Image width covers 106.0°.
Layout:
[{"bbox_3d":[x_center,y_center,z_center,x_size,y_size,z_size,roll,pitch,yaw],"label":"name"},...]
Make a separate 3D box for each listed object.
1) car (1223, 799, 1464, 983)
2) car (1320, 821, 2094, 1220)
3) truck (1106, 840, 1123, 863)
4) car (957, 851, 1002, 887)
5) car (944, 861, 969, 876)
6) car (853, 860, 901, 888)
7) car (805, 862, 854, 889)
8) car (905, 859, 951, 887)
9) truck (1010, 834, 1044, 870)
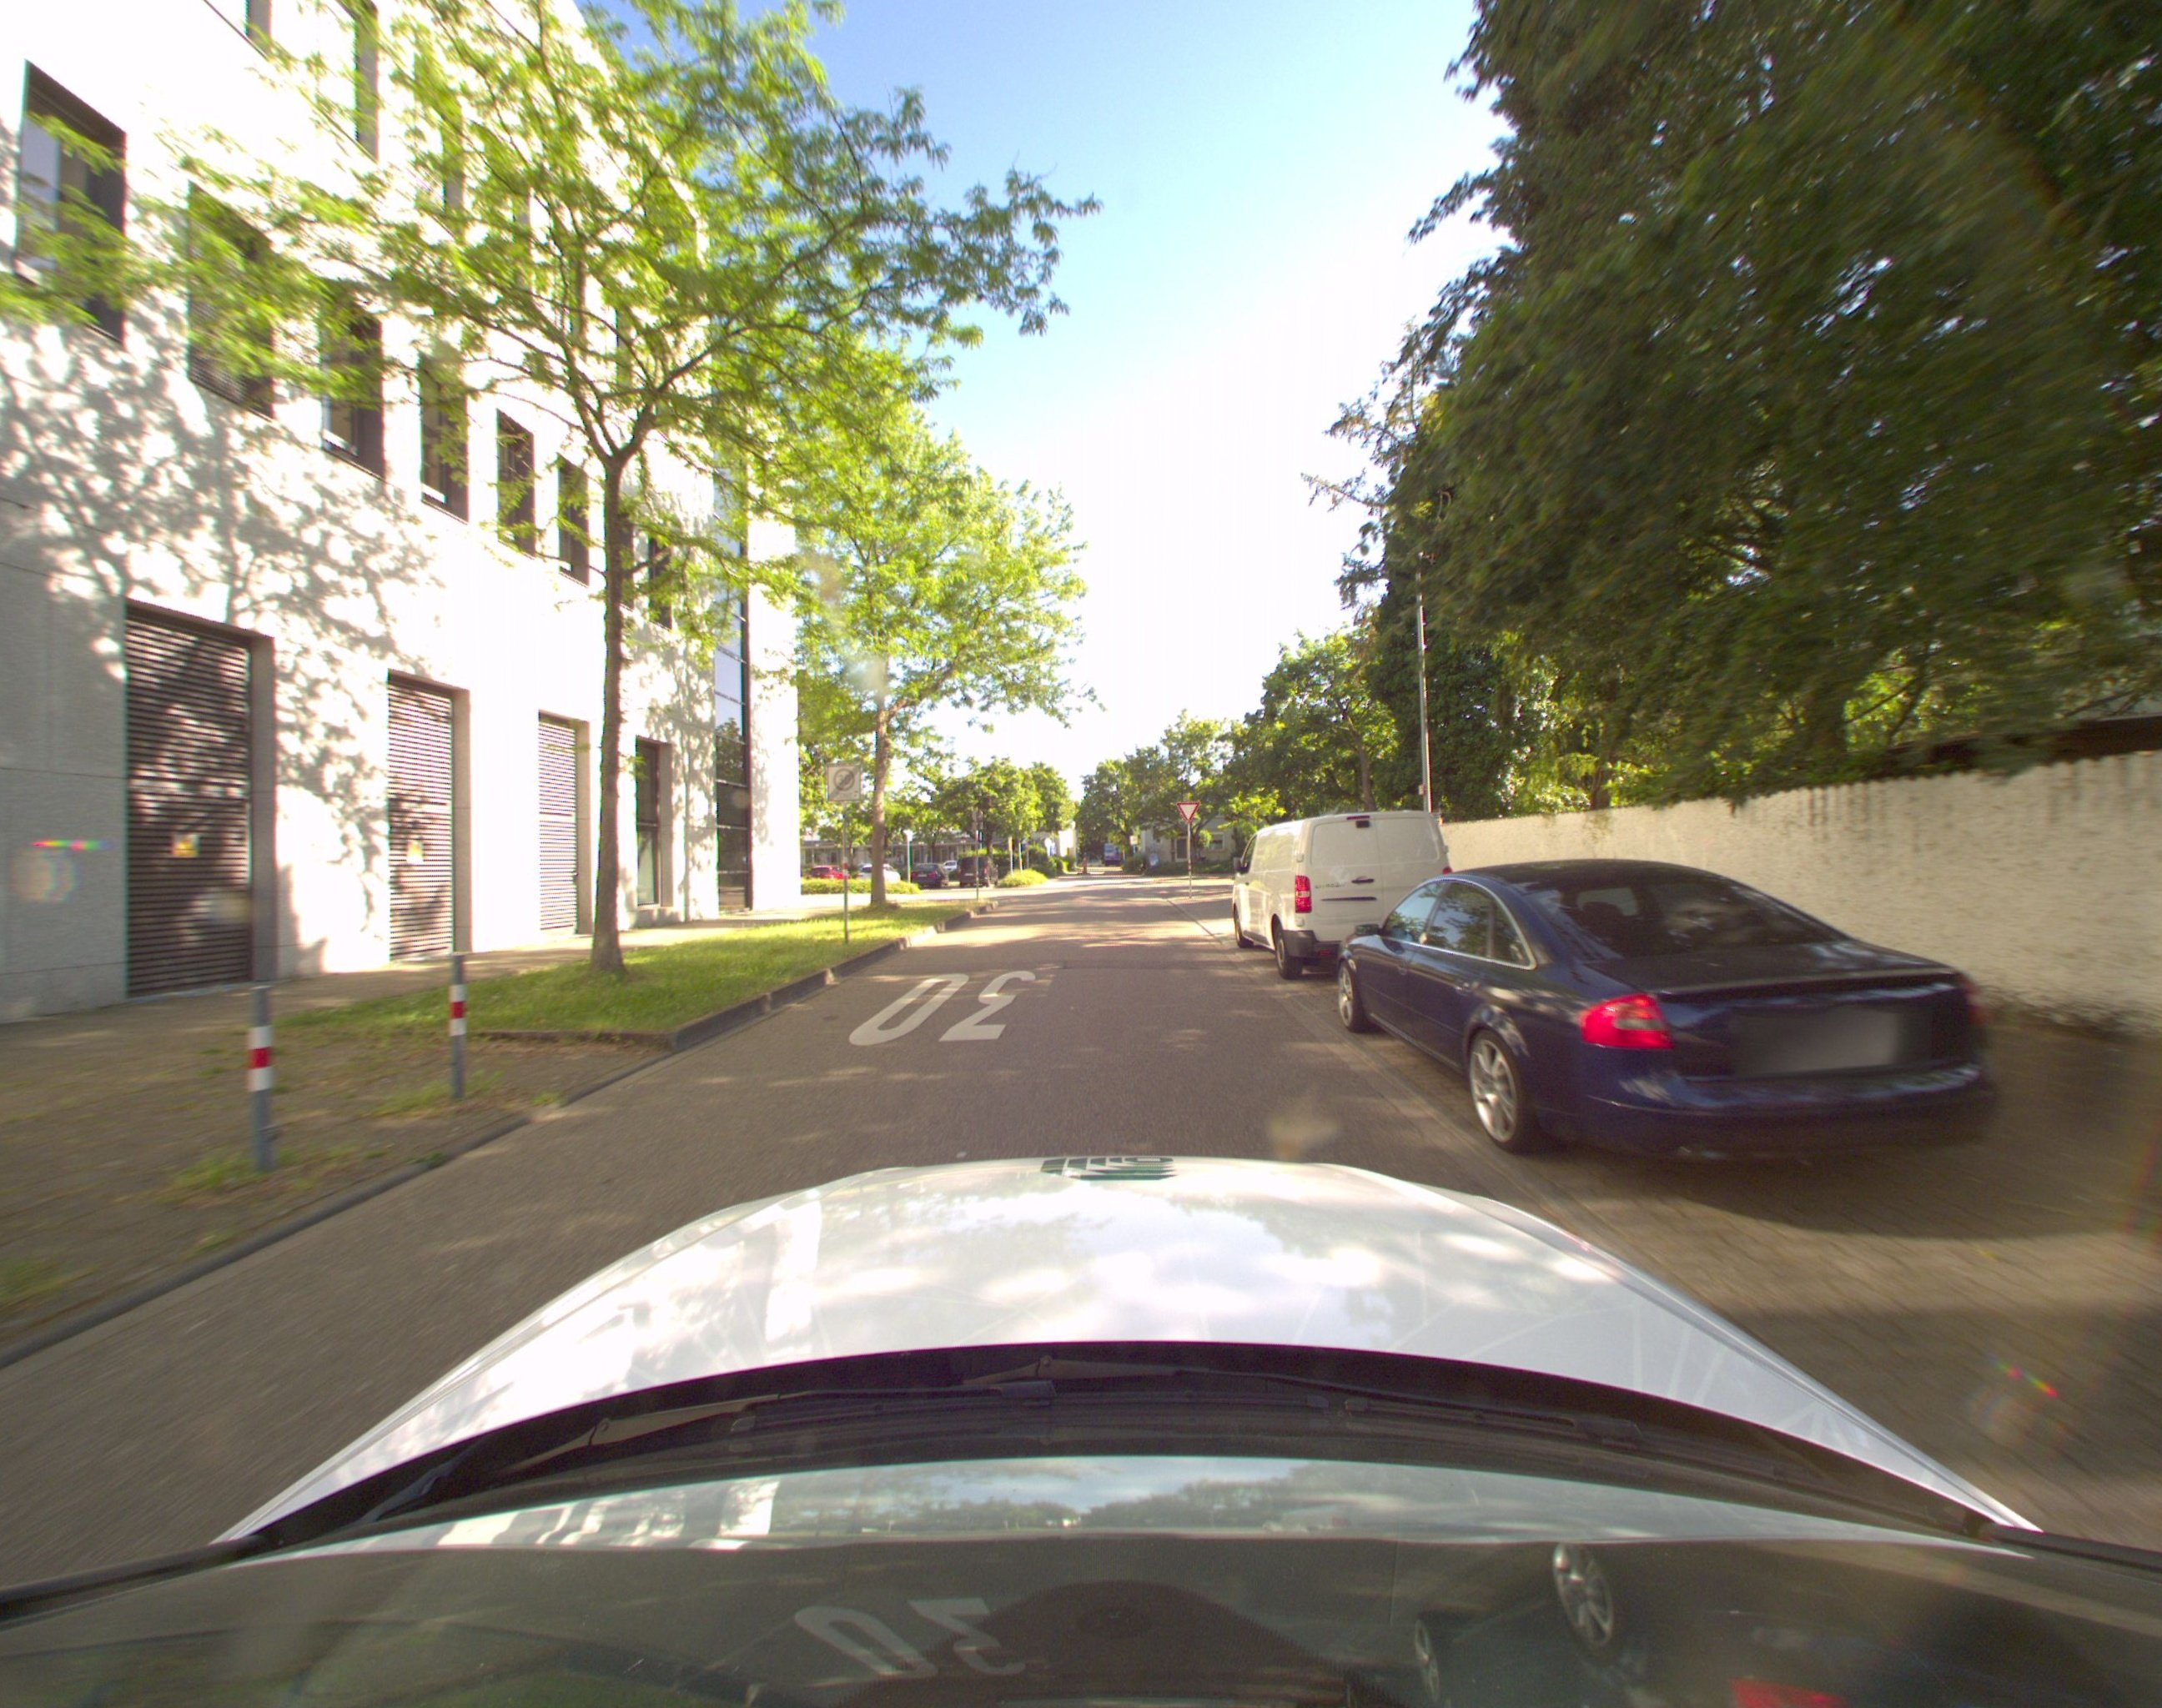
[{"bbox_3d":[3.277,0.400,11.370,1.890,1.914,5.152,-2,0,3],"label":"car"},{"bbox_3d":[3.043,0.652,5.305,1.818,1.423,4.286,-5,0,3],"label":"car"},{"bbox_3d":[5.848,-0.488,142.117,2.749,3.869,9.336,0,0,3],"label":"truck"},{"bbox_3d":[-5.908,0.840,47.724,1.866,1.846,4.171,-2,1,2],"label":"car"},{"bbox_3d":[-13.287,1.556,87.145,1.828,1.497,3.912,-2,0,4],"label":"car"},{"bbox_3d":[-11.898,1.142,47.701,1.796,1.436,3.912,-1,1,0],"label":"car"},{"bbox_3d":[-14.716,1.225,47.845,1.661,1.426,3.912,0,0,0],"label":"car"},{"bbox_3d":[-8.896,1.071,47.548,1.817,1.406,4.169,-2,1,0],"label":"car"},{"bbox_3d":[-5.812,-0.186,88.877,2.790,3.806,6.932,0,0,4],"label":"truck"}]
